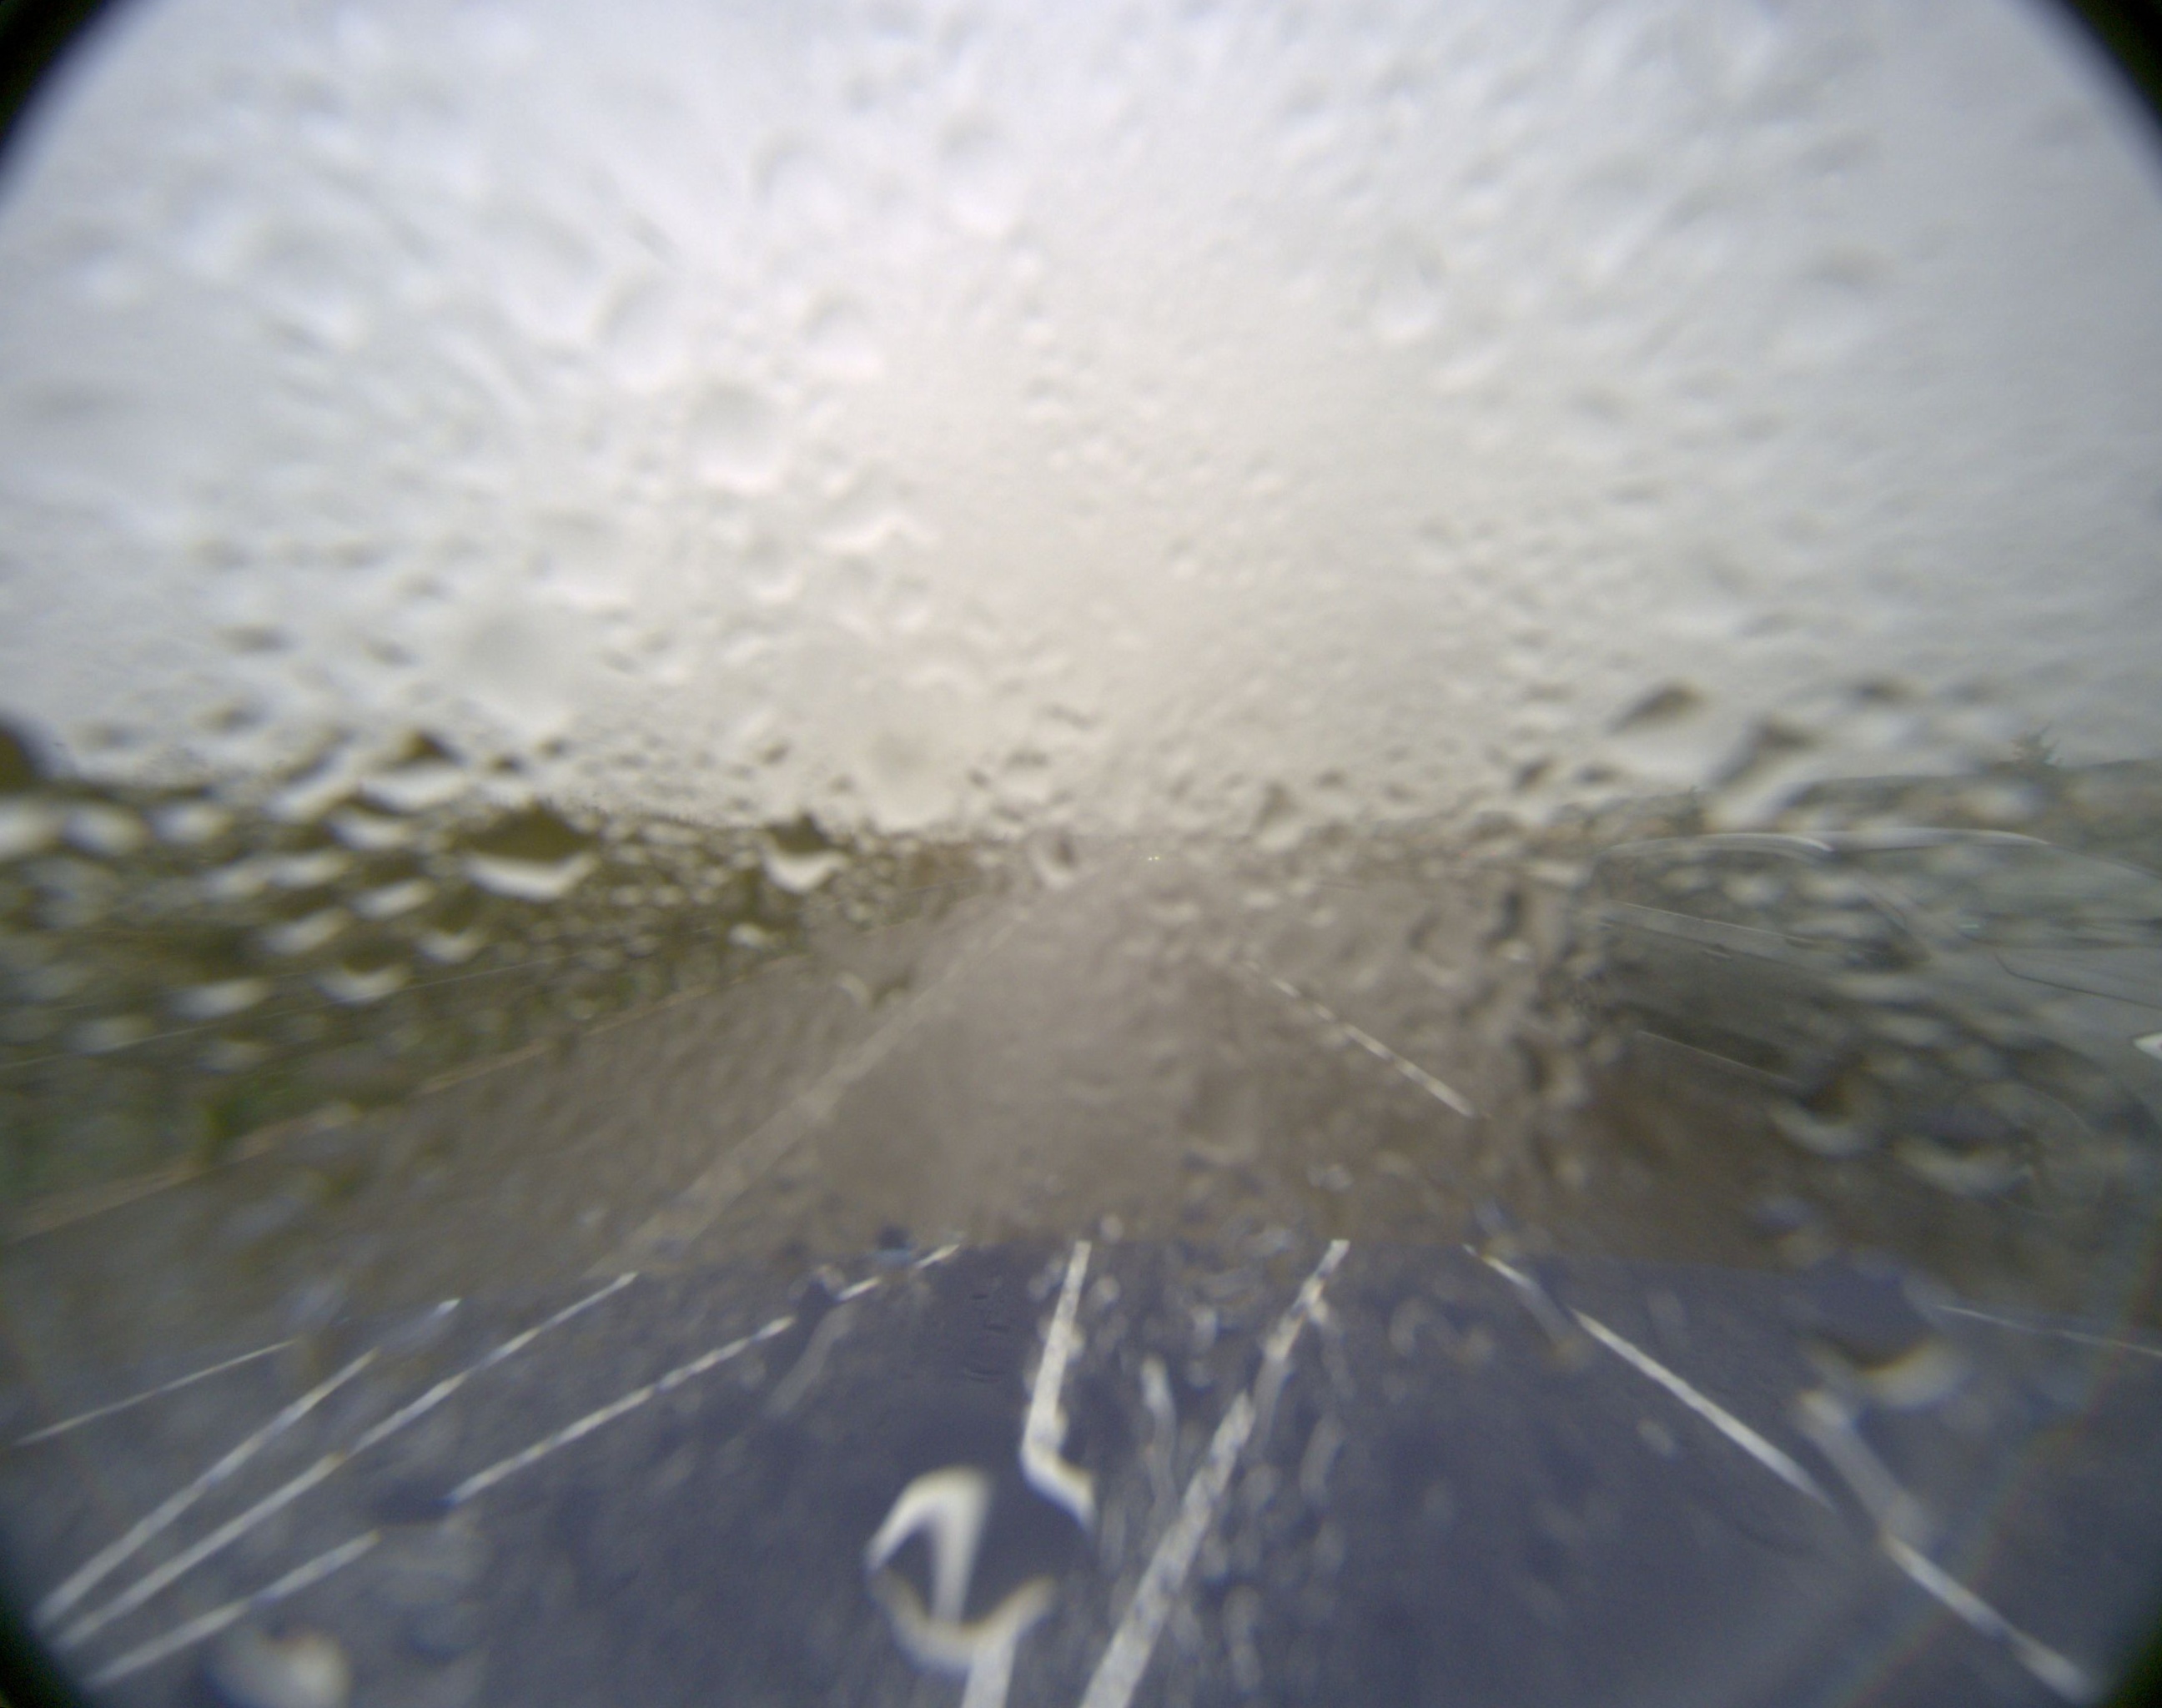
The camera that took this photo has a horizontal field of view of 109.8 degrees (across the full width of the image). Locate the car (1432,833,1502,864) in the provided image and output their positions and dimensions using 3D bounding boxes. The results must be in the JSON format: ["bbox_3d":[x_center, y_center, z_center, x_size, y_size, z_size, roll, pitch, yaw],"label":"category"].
[{"bbox_3d":[19.989,-0.276,39.547,1.699,1.477,4.000,-2,0,2],"label":"car"}]

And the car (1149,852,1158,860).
[{"bbox_3d":[14.715,0.392,154.142,1.700,1.543,3.734,-2,0,3],"label":"car"}]

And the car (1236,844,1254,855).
[{"bbox_3d":[23.967,-0.628,111.104,1.998,1.543,4.000,-2,0,3],"label":"car"}]

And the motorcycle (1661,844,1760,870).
[{"bbox_3d":[23.838,0.109,28.909,0.921,0.908,3.545,-2,0,2],"label":"motorcycle"}]

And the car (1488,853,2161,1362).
[{"bbox_3d":[4.287,0.793,3.873,1.851,1.504,4.756,-2,0,0],"label":"car"}]

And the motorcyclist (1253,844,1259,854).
[{"bbox_3d":[27.865,-0.786,120.808,0.676,1.557,0.840,-2,1,0],"label":"motorcyclist"}]

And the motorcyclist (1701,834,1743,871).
[{"bbox_3d":[23.867,-0.054,28.291,0.750,1.300,0.941,-2,1,0],"label":"motorcyclist"}]

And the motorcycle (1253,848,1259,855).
[{"bbox_3d":[27.877,-0.377,120.811,0.639,1.057,1.600,-2,0,2],"label":"motorcycle"}]

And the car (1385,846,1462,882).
[{"bbox_3d":[16.274,0.435,36.316,1.824,1.565,4.086,-2,0,0],"label":"car"}]
